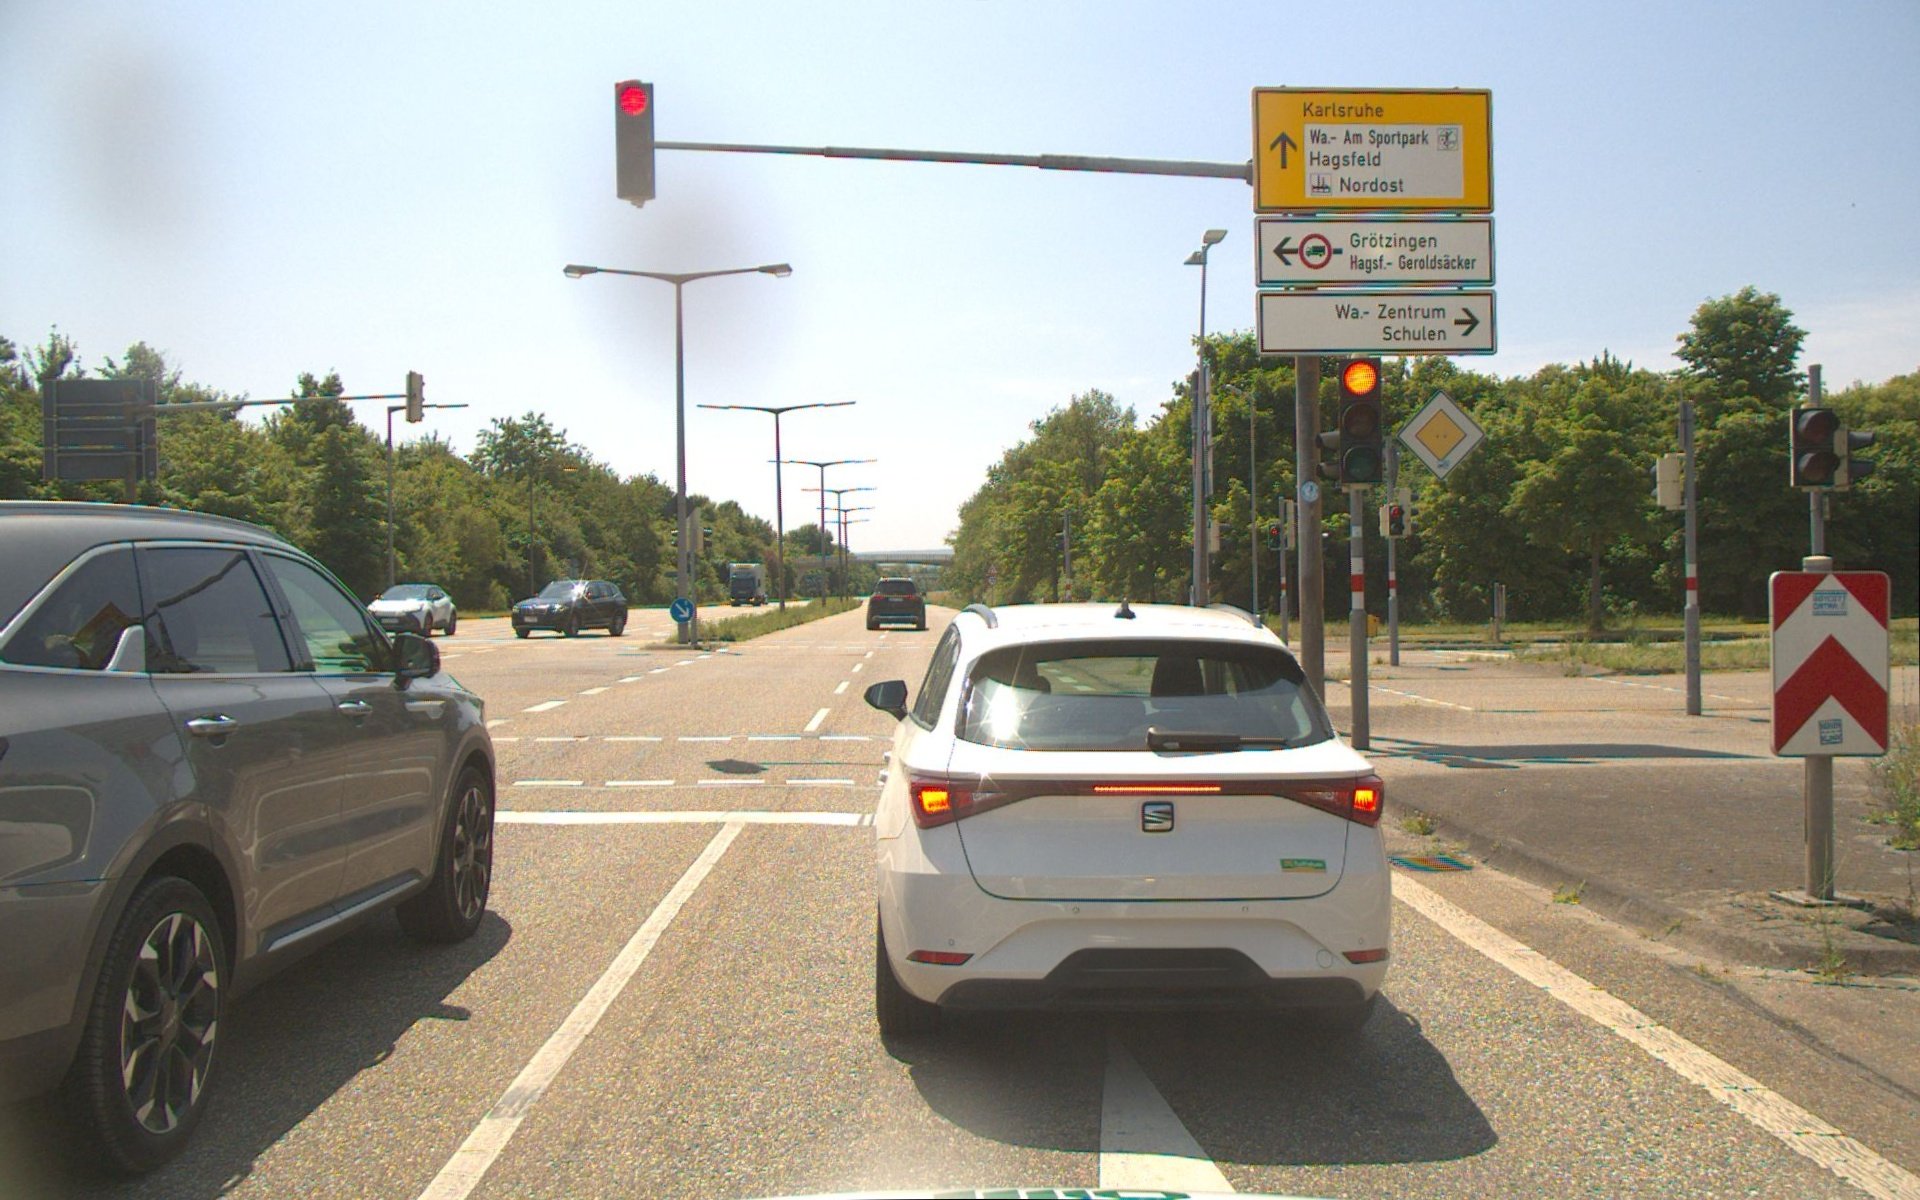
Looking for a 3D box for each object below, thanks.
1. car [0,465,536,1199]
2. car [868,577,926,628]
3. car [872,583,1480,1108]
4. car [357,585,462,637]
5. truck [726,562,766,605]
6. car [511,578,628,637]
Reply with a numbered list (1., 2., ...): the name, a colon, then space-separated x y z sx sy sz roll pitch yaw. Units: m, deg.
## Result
1. car: -2.862 0.572 5.472 1.767 1.691 4.643 -1 0 -1
2. car: -2.223 0.059 59.229 1.816 1.738 4.001 -1 1 1
3. car: 0.586 0.701 6.508 1.699 1.453 3.693 1 0 -1
4. car: -16.629 0.307 50.172 1.785 1.481 4.168 -1 1 -1
5. truck: -18.452 -1.427 143.086 2.633 3.633 7.266 0 1 -1
6. car: -11.766 0.204 50.073 1.670 1.692 4.226 -1 1 14
